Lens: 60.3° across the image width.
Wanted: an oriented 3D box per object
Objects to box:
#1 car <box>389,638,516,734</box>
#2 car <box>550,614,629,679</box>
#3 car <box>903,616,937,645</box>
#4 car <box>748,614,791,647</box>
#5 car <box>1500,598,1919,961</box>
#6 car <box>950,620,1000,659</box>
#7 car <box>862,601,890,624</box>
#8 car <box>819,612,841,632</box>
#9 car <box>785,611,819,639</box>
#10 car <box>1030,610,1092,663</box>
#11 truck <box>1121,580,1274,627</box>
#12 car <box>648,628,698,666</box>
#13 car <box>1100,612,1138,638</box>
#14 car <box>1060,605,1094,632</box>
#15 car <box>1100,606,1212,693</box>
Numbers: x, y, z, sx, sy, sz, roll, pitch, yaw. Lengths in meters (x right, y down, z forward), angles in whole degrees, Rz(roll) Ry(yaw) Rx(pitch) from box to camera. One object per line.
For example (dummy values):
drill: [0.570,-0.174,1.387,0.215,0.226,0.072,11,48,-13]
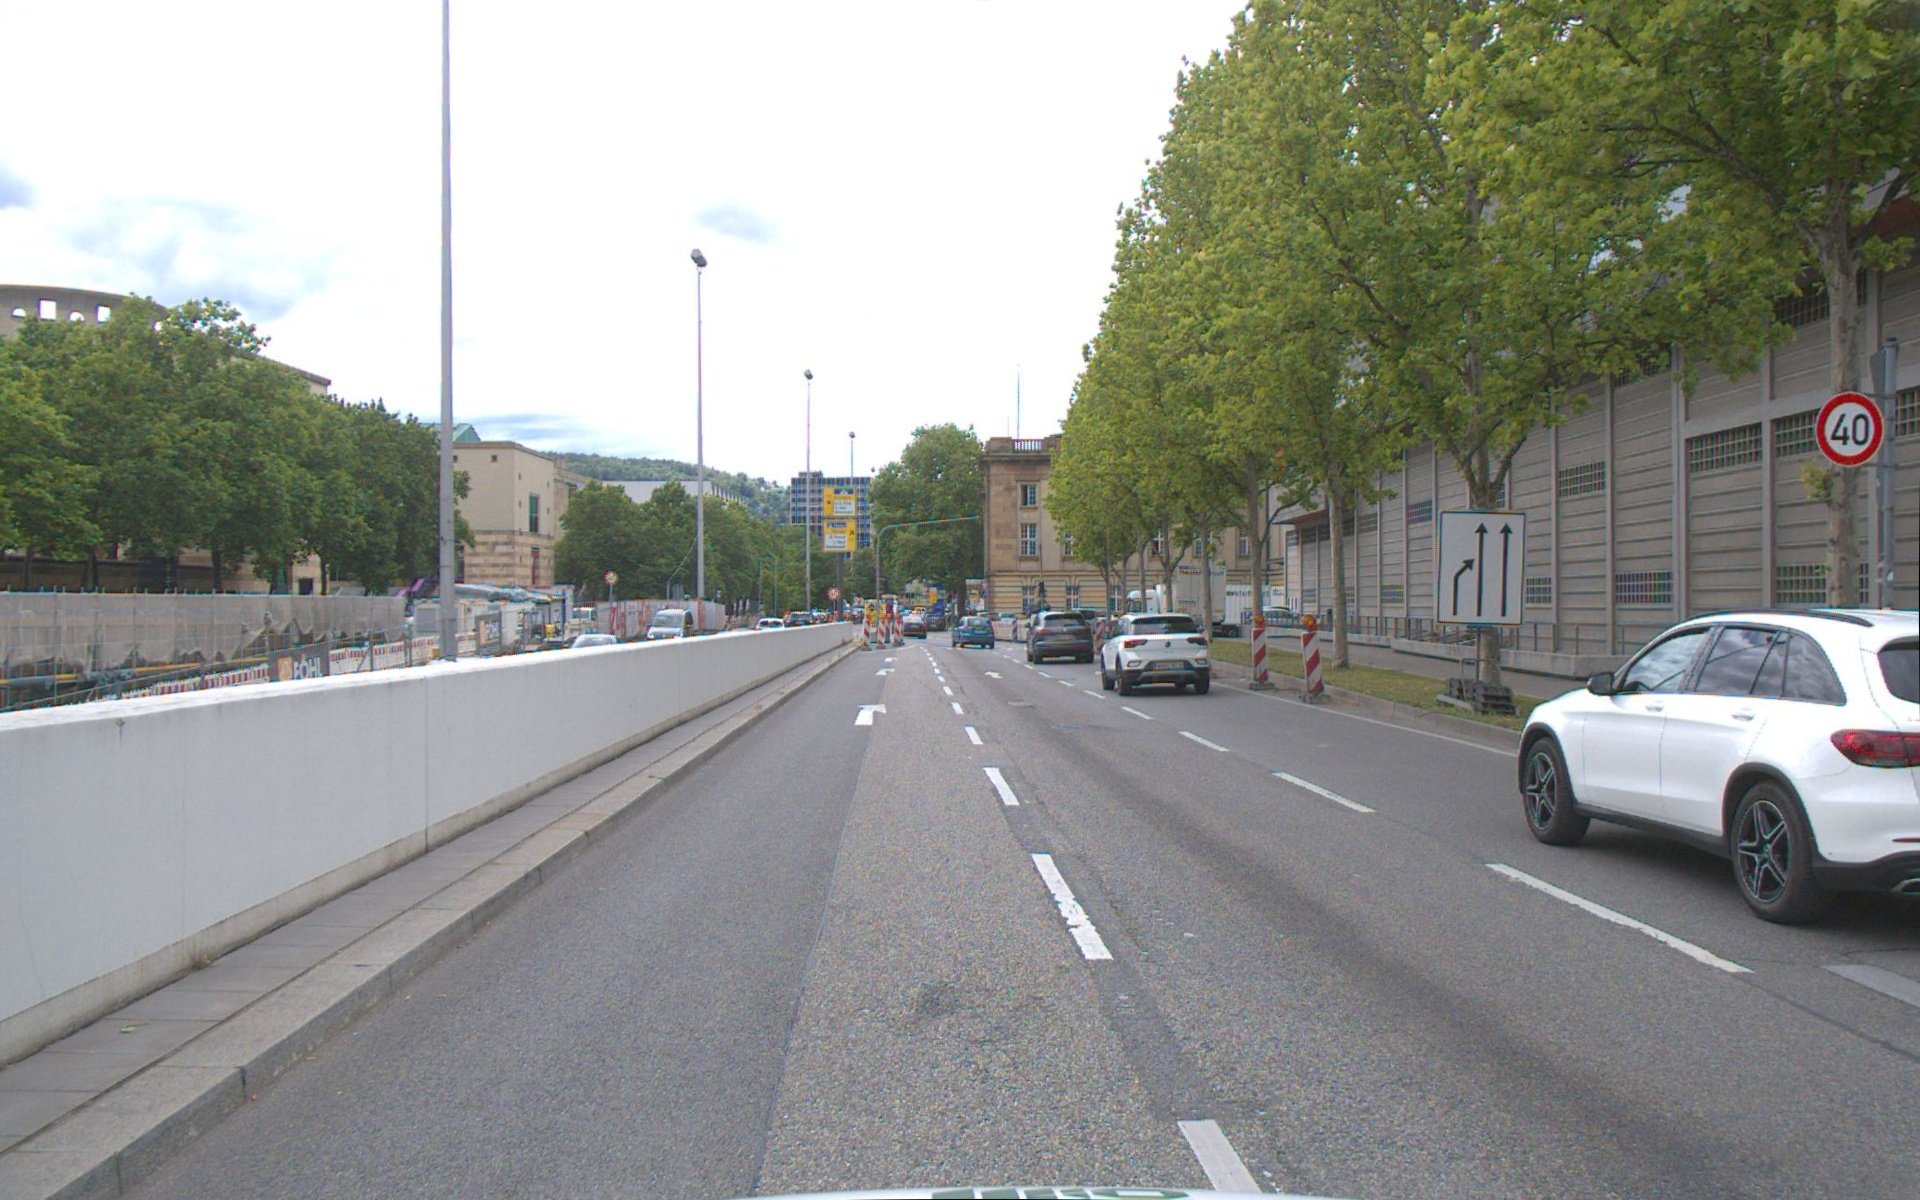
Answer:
car: [-12.332,2.042,40.460,1.953,2.048,3.999,0,1,-2]
car: [-12.858,1.587,57.608,1.953,2.048,3.999,0,1,-2]
car: [-2.549,1.935,105.815,1.785,1.771,4.481,-1,0,3]
car: [-9.400,1.500,81.838,1.715,1.595,3.376,1,0,-1]
car: [5.061,0.840,10.092,1.776,1.671,4.548,0,0,-4]
car: [0.699,1.849,78.624,1.789,1.771,4.472,-1,0,-7]
car: [-9.054,1.371,179.007,2.528,2.416,5.528,-1,0,3]
car: [-10.475,1.738,133.103,1.716,1.595,4.327,0,-1,-4]
car: [-9.609,1.498,100.743,1.715,1.595,3.376,-3,0,-1]
car: [3.254,1.155,54.127,1.786,1.595,4.480,-2,0,1]
truck: [15.866,0.255,110.847,9.825,3.104,2.568,0,-1,-1]
car: [-13.313,2.164,76.904,1.715,1.595,3.376,-3,0,-1]
car: [9.839,1.551,102.544,1.818,1.595,4.330,0,-1,-1]
car: [7.244,1.155,102.897,1.715,1.595,4.330,0,-1,-1]
car: [3.867,0.945,33.252,1.715,1.595,4.331,-1,0,0]
